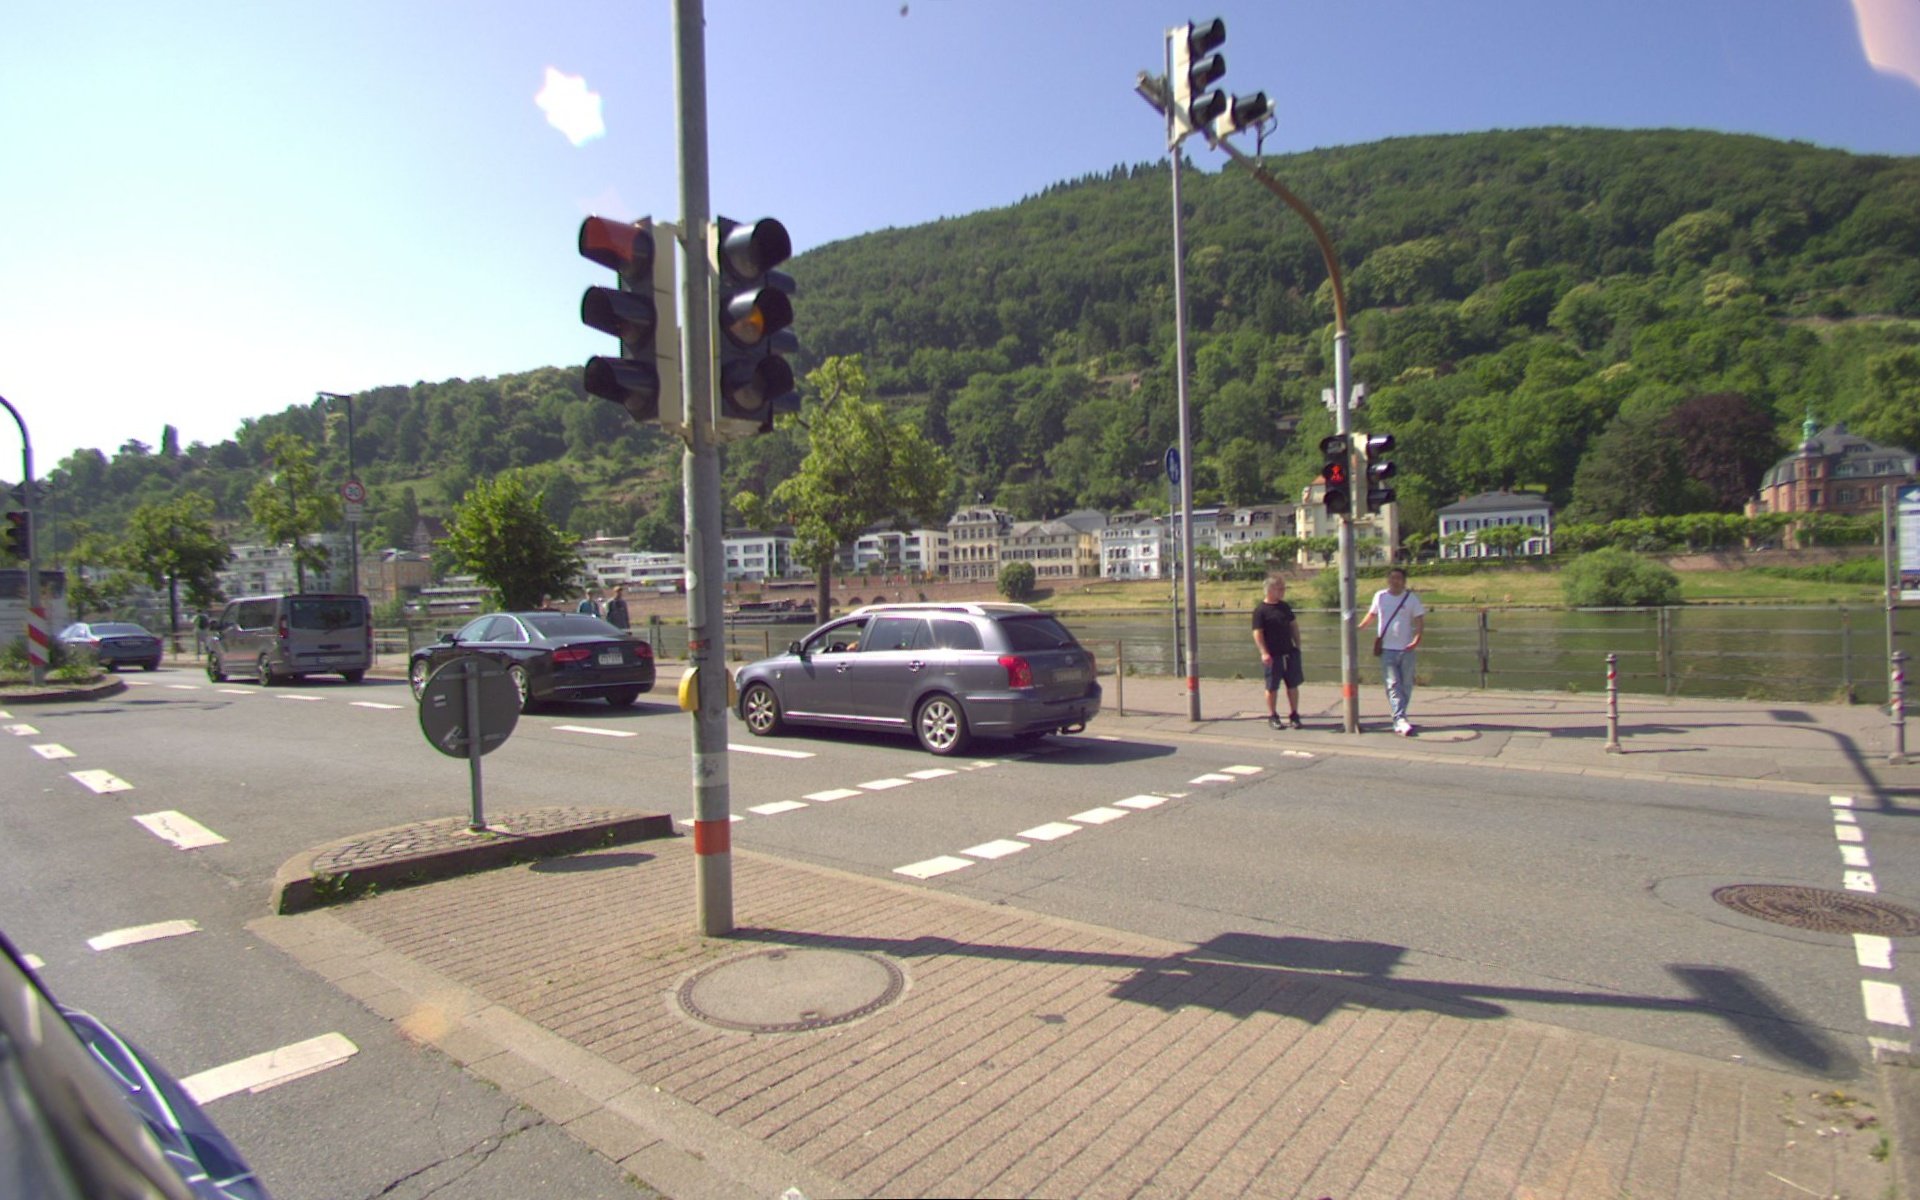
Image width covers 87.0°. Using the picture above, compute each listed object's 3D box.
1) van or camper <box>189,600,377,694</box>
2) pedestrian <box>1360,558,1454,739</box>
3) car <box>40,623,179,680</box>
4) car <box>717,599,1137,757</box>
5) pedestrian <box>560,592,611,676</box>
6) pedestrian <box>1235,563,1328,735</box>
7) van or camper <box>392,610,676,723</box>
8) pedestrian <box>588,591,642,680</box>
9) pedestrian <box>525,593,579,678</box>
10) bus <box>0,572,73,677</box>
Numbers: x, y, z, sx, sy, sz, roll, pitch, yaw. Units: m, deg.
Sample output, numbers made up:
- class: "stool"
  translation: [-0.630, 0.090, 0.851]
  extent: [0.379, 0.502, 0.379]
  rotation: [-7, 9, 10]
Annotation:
- class: "van or camper"
  translation: [-15.327, 1.004, 22.801]
  extent: [5.172, 1.887, 1.975]
  rotation: [-2, -1, 38]
- class: "pedestrian"
  translation: [4.738, 0.495, 10.708]
  extent: [0.761, 1.792, 0.689]
  rotation: [-2, 5, 32]
- class: "car"
  translation: [-25.941, 1.557, 30.809]
  extent: [5.145, 1.611, 1.976]
  rotation: [-2, -3, 35]
- class: "car"
  translation: [-0.513, 0.776, 11.310]
  extent: [4.565, 1.419, 1.933]
  rotation: [-2, -3, 39]
- class: "pedestrian"
  translation: [-8.745, 0.785, 23.648]
  extent: [0.693, 1.871, 0.756]
  rotation: [-2, 2, 31]
- class: "pedestrian"
  translation: [3.594, 0.531, 11.291]
  extent: [0.761, 1.792, 0.689]
  rotation: [-2, 5, 32]
- class: "van or camper"
  translation: [-6.803, 0.942, 15.893]
  extent: [5.059, 1.488, 1.974]
  rotation: [-1, -1, 39]
- class: "pedestrian"
  translation: [-7.582, 0.766, 22.232]
  extent: [0.693, 1.871, 0.756]
  rotation: [-2, 2, 31]
- class: "pedestrian"
  translation: [-9.129, 0.788, 22.632]
  extent: [0.693, 1.817, 0.756]
  rotation: [-2, 2, 31]
- class: "bus"
  translation: [-37.967, 0.930, 38.411]
  extent: [12.935, 3.591, 2.612]
  rotation: [-1, 0, 31]
